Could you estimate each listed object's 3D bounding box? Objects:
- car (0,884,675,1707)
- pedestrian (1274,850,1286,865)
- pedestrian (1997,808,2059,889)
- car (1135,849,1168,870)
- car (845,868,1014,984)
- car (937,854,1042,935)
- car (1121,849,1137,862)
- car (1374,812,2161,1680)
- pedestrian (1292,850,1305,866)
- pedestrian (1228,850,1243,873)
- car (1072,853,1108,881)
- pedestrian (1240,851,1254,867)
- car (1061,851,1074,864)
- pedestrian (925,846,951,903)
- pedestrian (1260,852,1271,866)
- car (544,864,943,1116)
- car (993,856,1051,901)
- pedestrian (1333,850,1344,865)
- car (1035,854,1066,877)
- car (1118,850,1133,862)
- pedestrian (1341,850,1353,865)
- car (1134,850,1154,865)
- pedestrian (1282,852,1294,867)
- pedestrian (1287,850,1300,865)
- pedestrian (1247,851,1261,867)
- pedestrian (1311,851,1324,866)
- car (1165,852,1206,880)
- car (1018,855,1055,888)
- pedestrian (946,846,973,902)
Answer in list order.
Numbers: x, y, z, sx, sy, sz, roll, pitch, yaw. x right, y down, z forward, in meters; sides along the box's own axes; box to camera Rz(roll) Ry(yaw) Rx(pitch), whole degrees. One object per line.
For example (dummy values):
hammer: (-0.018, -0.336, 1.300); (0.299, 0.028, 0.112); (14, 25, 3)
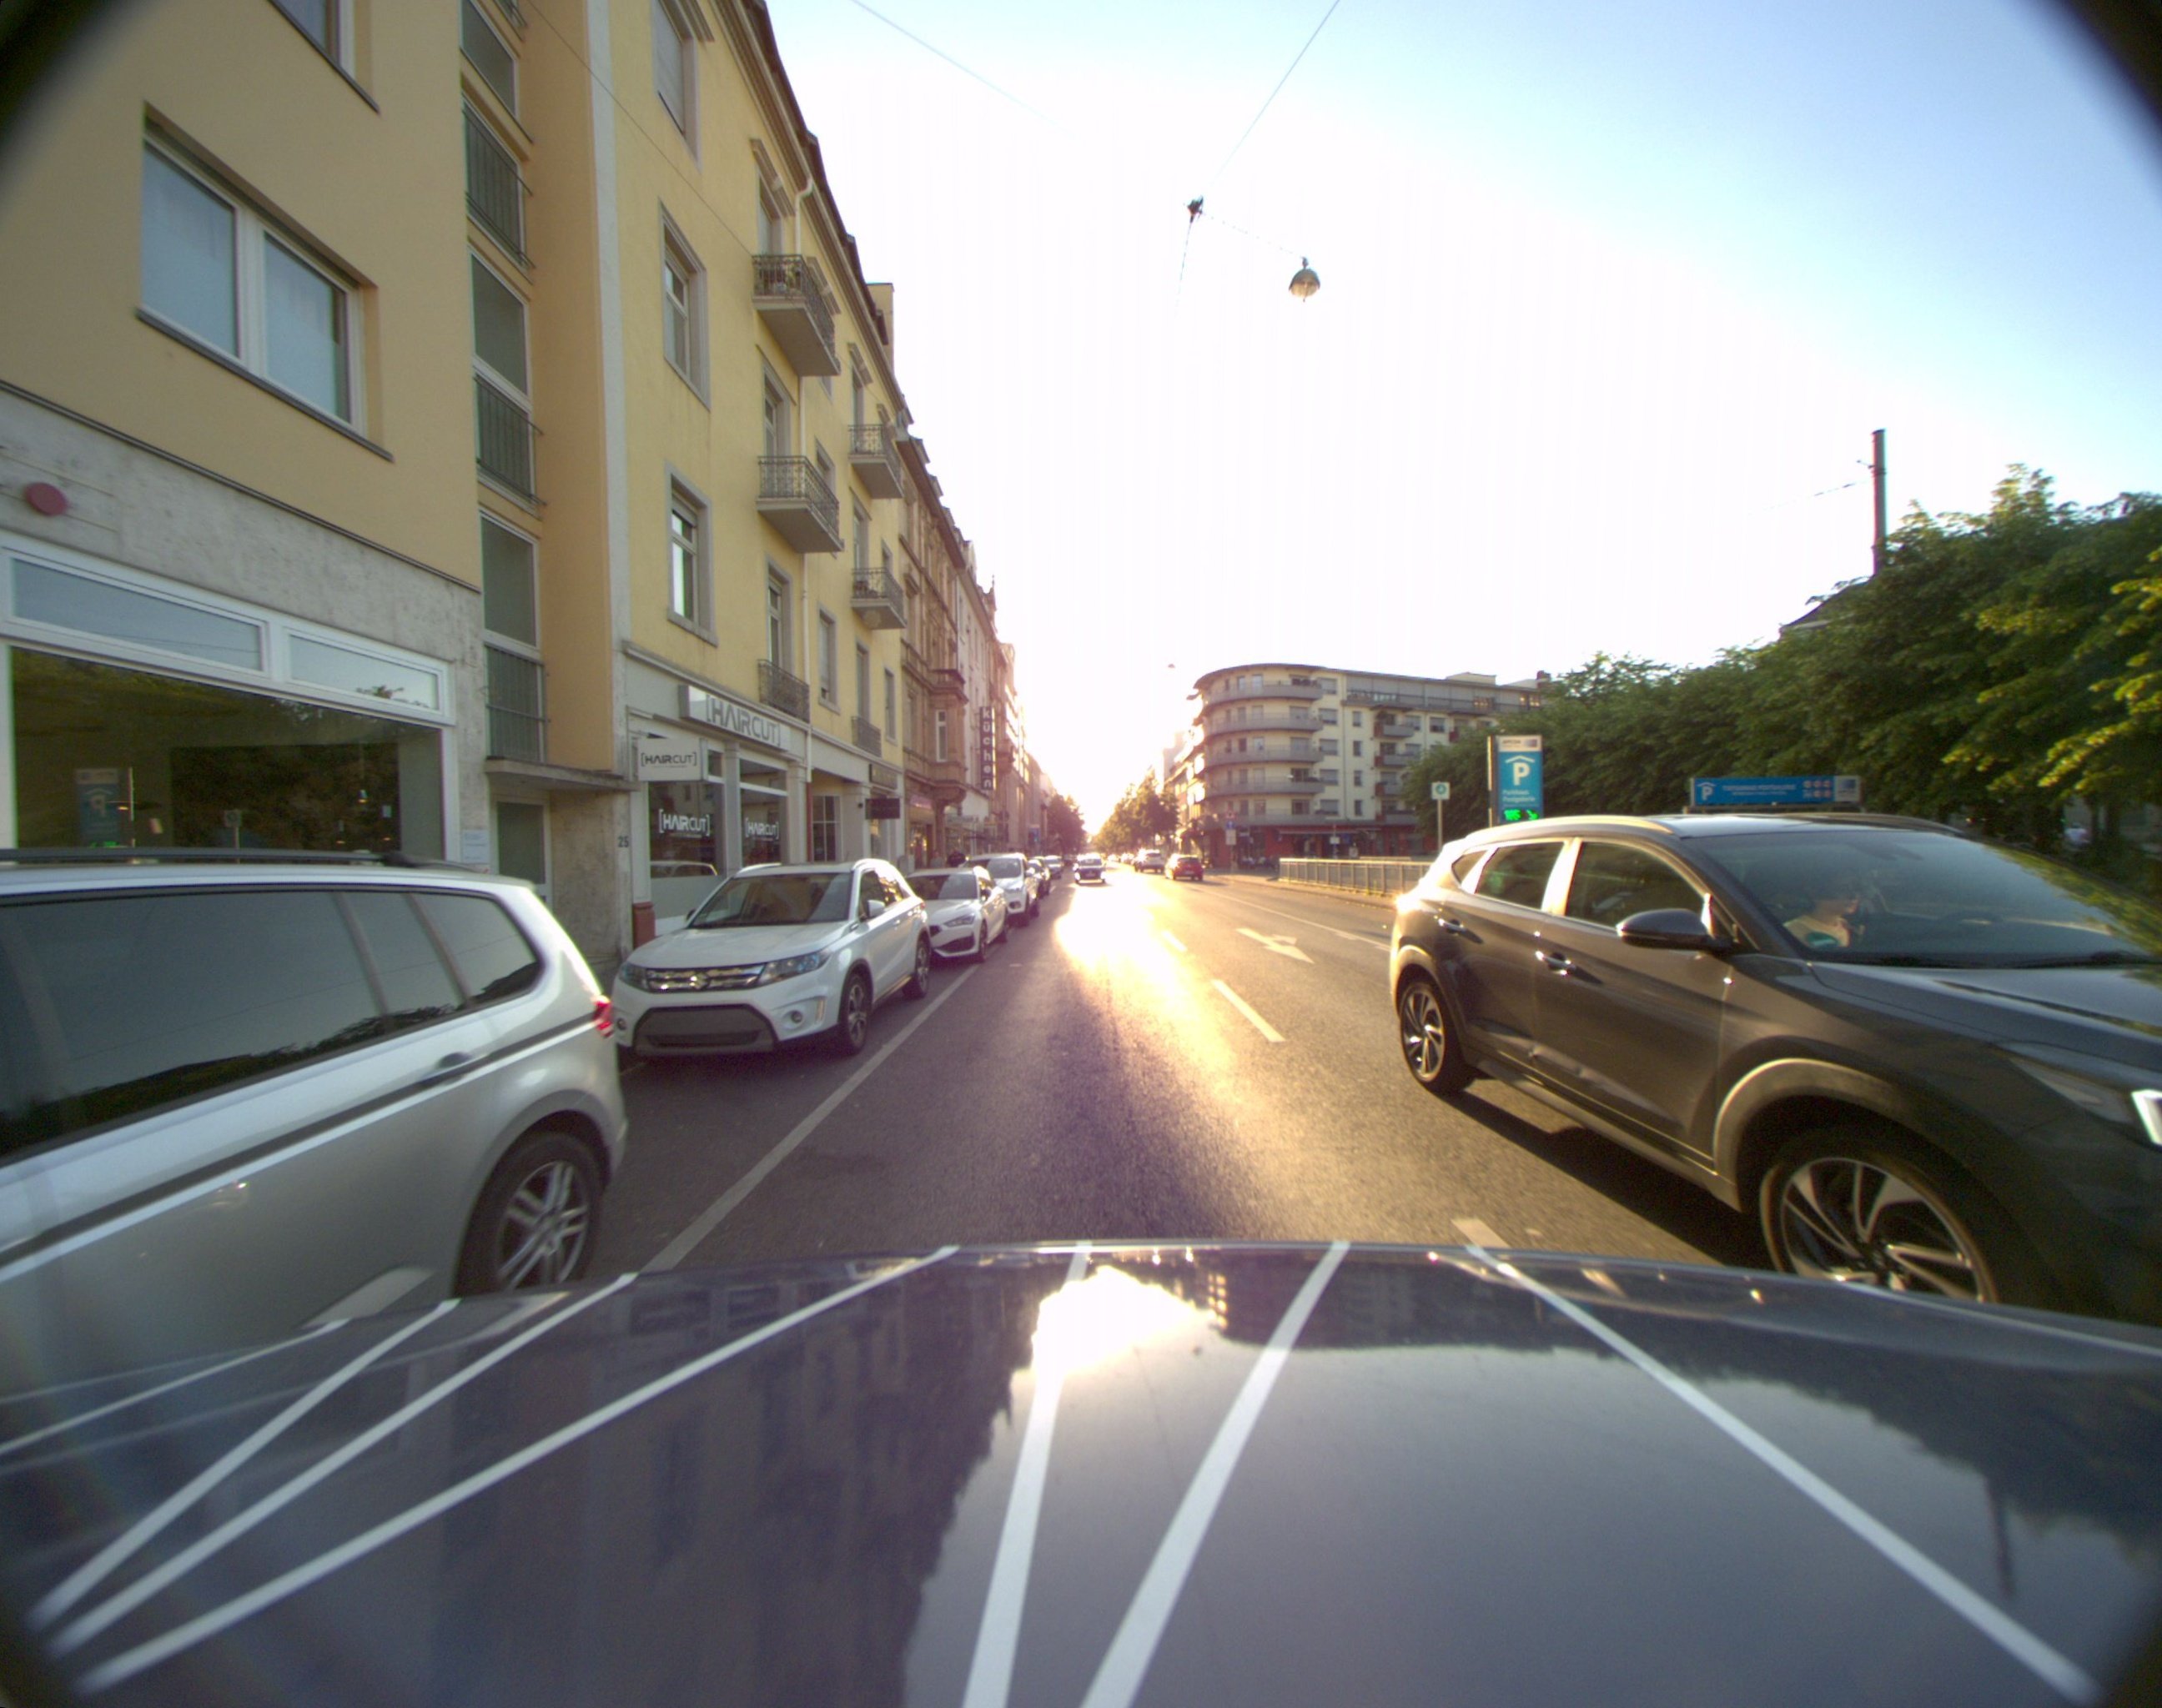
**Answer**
car: (-2.700, 0.971, 1.118); (1.702, 1.607, 4.682); (-2, 0, -1)
pedestrian: (17.475, 0.329, 66.779); (0.732, 1.314, 0.889); (-2, 1, 0)
pedestrian: (24.195, -0.139, 19.418); (0.907, 2.002, 0.738); (-2, 1, -22)
car: (5.448, 0.433, 59.402); (1.878, 1.621, 4.177); (1, 0, -4)
car: (-2.280, 1.026, 12.696); (1.738, 1.448, 4.610); (-2, 0, 1)
car: (-2.076, 0.866, 18.543); (1.877, 1.664, 4.430); (-2, 0, 1)
car: (7.172, 0.255, 114.460); (1.999, 1.805, 3.999); (-2, 0, -1)
car: (3.012, 0.744, 3.126); (1.877, 1.679, 4.449); (-1, 0, 0)
pedestrian: (19.086, 0.359, 66.815); (0.733, 1.314, 0.888); (-2, 1, -12)
pedestrian: (10.196, 0.506, 50.160); (0.678, 1.509, 0.676); (-2, 1, -41)
car: (0.458, 0.698, 43.365); (1.908, 1.438, 4.449); (-2, 0, -1)
pedestrian: (14.336, 0.412, 65.662); (0.890, 1.314, 0.731); (-2, 1, -26)
car: (-2.123, 0.506, 118.067); (1.999, 1.806, 3.997); (-1, 2, -3)
pedestrian: (-5.150, 0.712, 27.362); (0.673, 2.002, 0.851); (-2, 1, 1)
pedestrian: (15.967, 0.459, 65.853); (0.887, 1.185, 0.733); (-2, 1, 10)
car: (-2.702, 0.964, 7.313); (1.821, 1.611, 4.203); (-2, 0, 1)
car: (-2.210, 0.901, 29.668); (1.908, 1.531, 4.449); (-2, 0, -1)
pedestrian: (23.682, 0.296, 69.865); (0.731, 1.314, 0.890); (-1, 1, 40)
car: (-2.060, 0.761, 52.455); (1.908, 1.421, 4.449); (-2, 0, -1)
car: (6.987, 0.237, 119.234); (1.999, 1.805, 3.999); (-2, 0, -1)
pedestrian: (24.243, 0.290, 69.239); (0.731, 1.314, 0.890); (-1, 1, 40)
car: (7.671, 0.407, 92.231); (1.999, 1.805, 3.999); (-2, 0, -1)
pedestrian: (18.170, 0.458, 66.752); (0.732, 1.314, 0.888); (-2, 1, -1)
pedestrian: (19.044, 0.328, 68.169); (0.688, 1.314, 0.819); (-2, 1, -23)
pedestrian: (14.768, 0.448, 64.838); (0.890, 1.314, 0.731); (-2, 1, -30)
pedestrian: (21.145, 0.372, 67.992); (0.733, 1.314, 0.888); (-2, 1, -14)
car: (6.053, 0.658, 44.384); (1.790, 1.458, 3.956); (-1, 1, -1)
car: (-2.275, 0.859, 39.385); (1.644, 1.574, 4.201); (-2, 0, -1)
pedestrian: (-4.427, 0.725, 27.665); (0.763, 2.002, 0.851); (-2, 1, 1)
